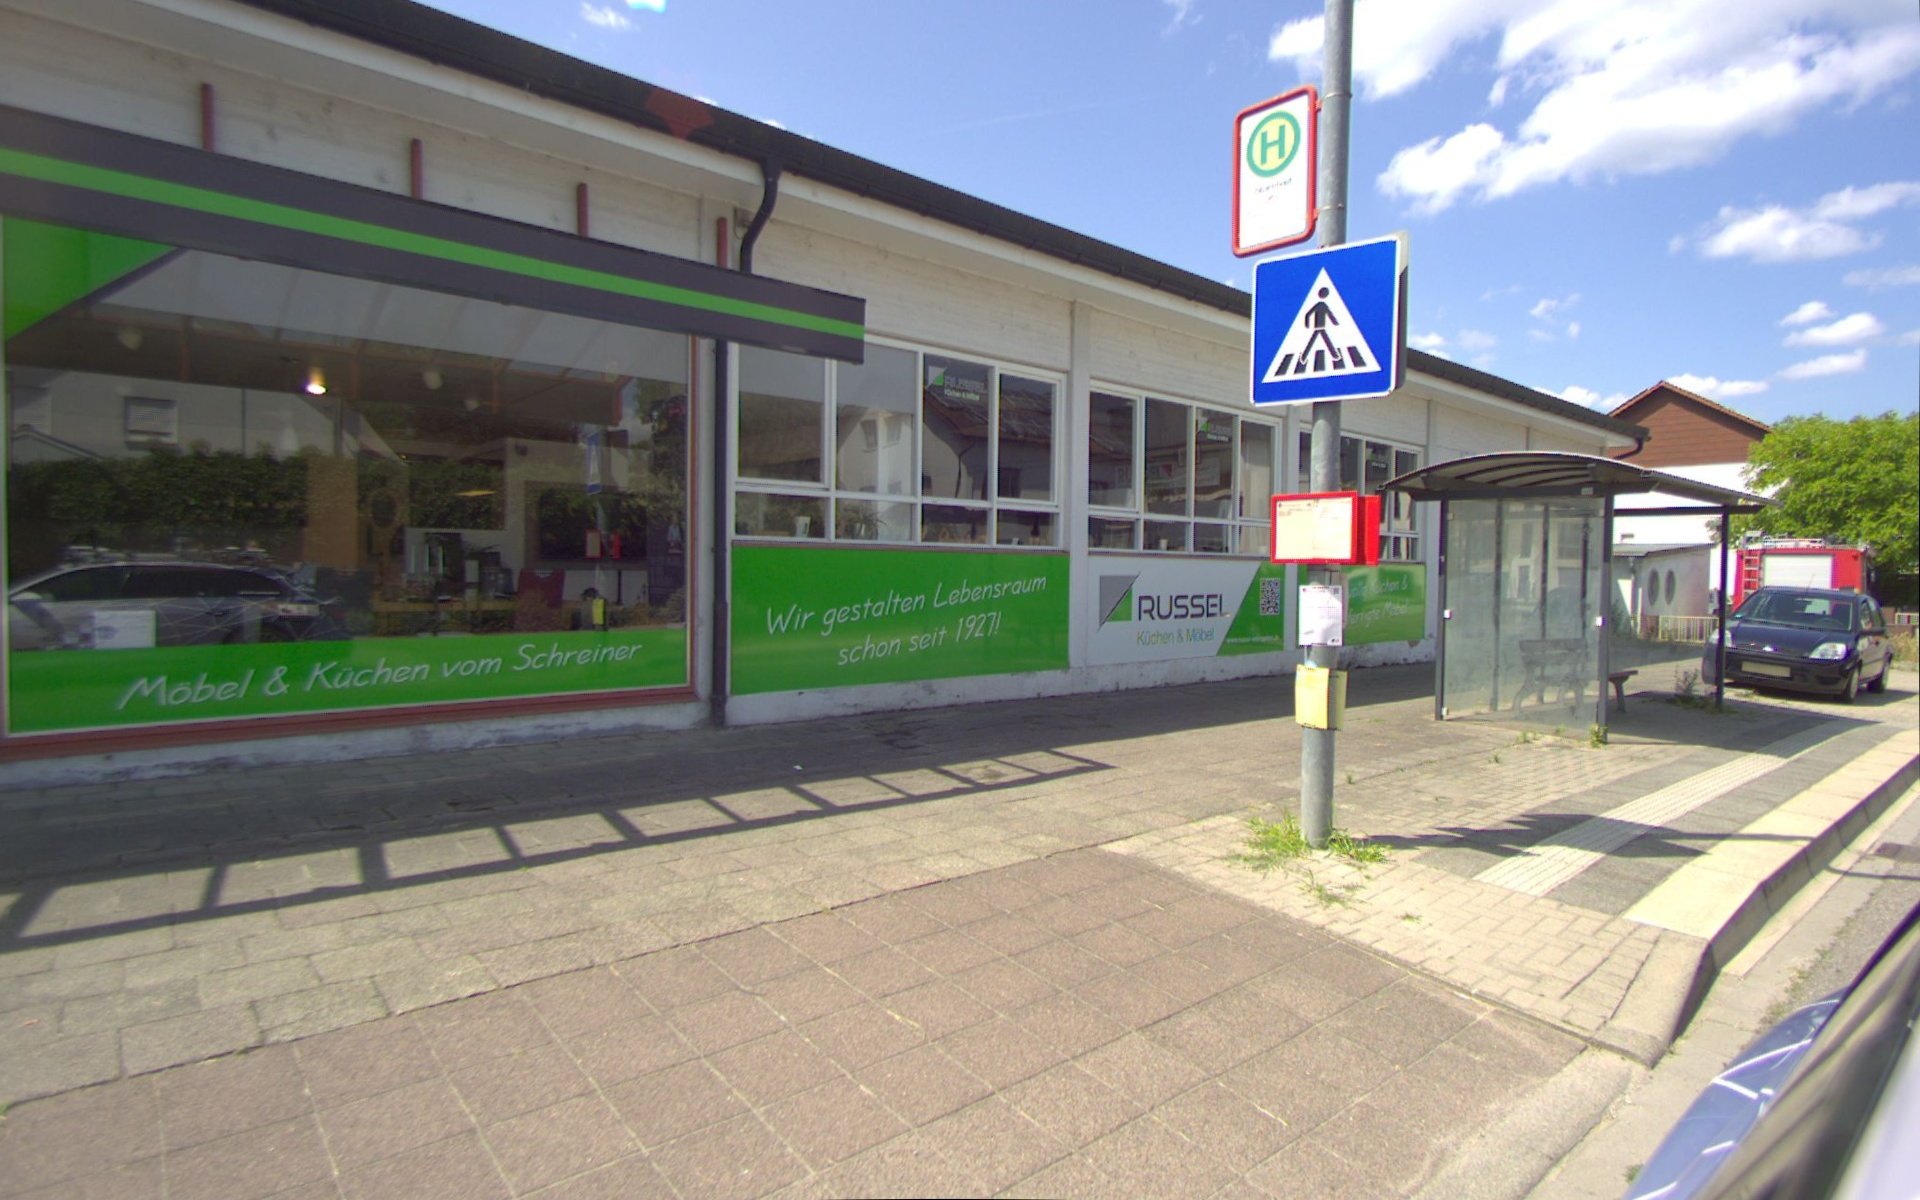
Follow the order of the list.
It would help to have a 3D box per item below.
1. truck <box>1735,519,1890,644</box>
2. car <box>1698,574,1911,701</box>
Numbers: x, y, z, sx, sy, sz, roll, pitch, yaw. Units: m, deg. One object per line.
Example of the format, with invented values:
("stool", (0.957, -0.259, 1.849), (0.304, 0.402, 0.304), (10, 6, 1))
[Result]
("truck", (21.764, -0.519, 25.719), (2.573, 2.795, 6.236), (4, 3, 43))
("car", (12.065, 0.434, 14.391), (3.695, 1.511, 1.728), (0, 3, -41))
